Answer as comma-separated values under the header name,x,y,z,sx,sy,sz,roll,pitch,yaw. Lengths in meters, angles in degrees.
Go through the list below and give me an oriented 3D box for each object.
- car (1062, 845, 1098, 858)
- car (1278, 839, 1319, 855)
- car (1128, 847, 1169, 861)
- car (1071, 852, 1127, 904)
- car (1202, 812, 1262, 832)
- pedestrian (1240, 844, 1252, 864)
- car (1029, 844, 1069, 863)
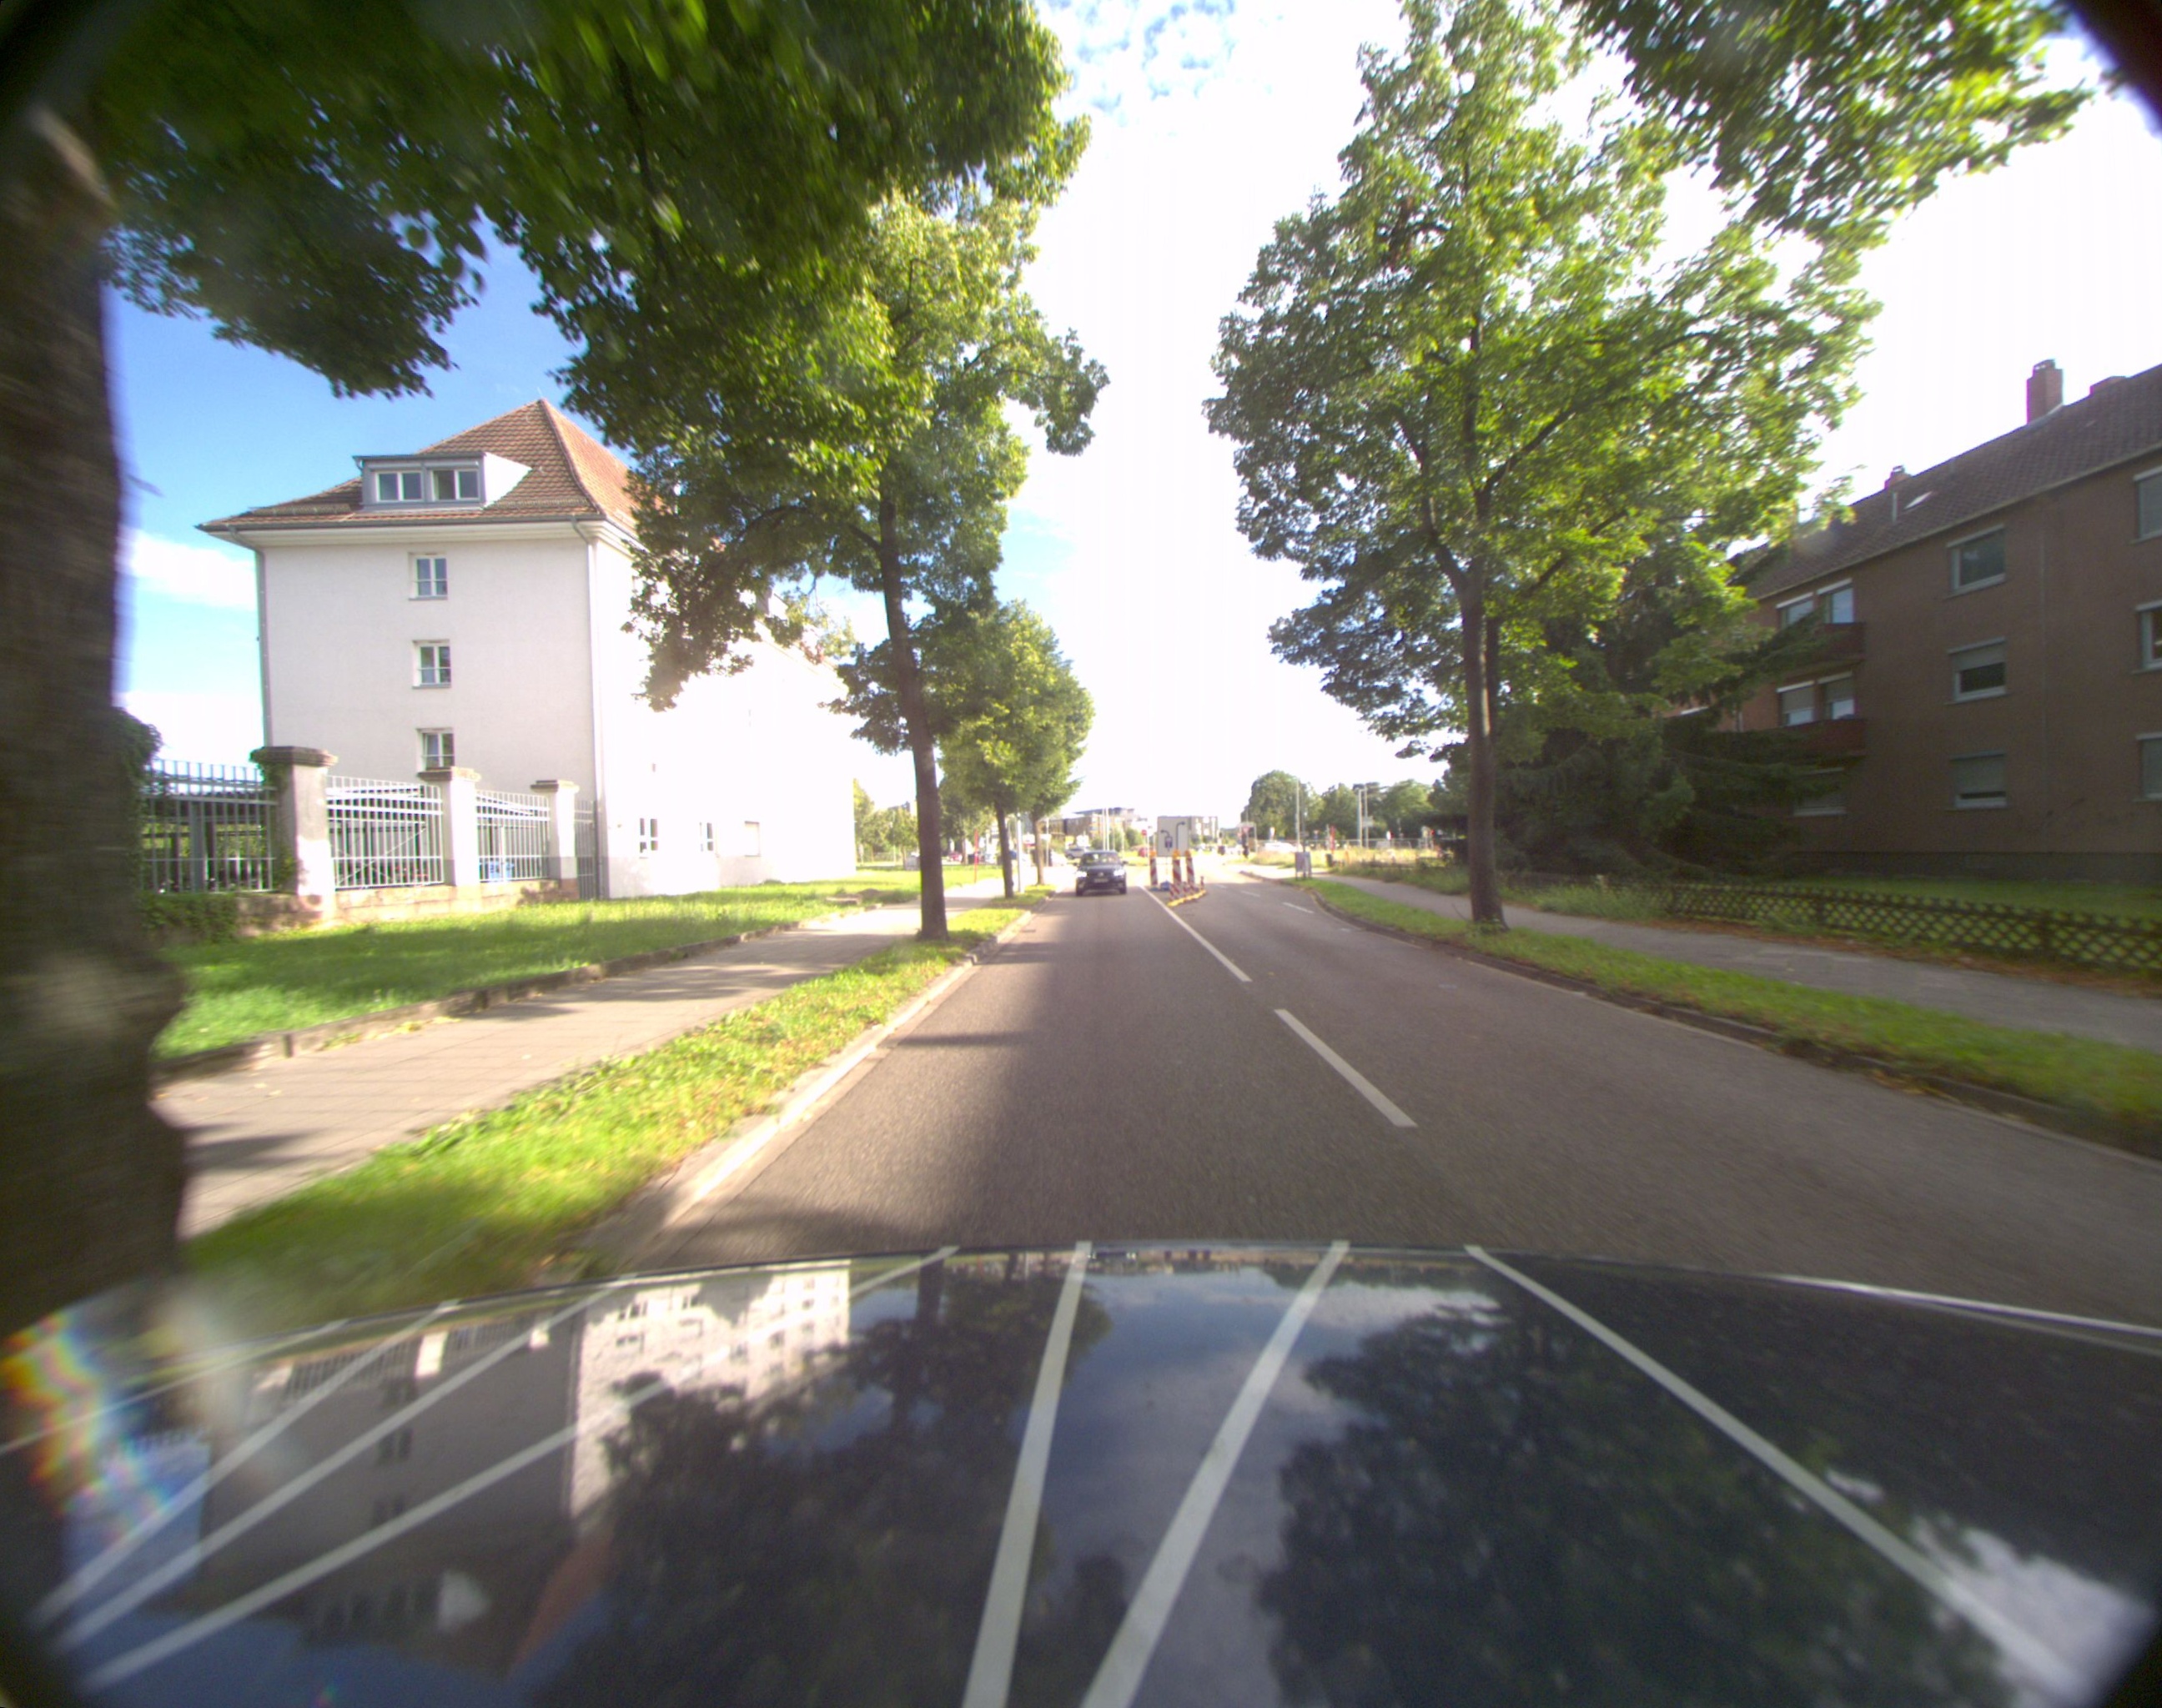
name,x,y,z,sx,sy,sz,roll,pitch,yaw
car,-0.090,-0.329,97.935,4.257,1.477,2.001,-2,1,10
car,30.769,-1.008,107.517,5.510,2.047,2.472,-3,2,-31
car,8.650,0.042,97.557,4.867,1.515,2.305,-3,1,-4
car,0.708,0.795,27.655,1.821,1.648,4.243,-3,0,3
car,16.531,-3.549,83.559,2.482,1.856,6.235,-4,2,-42
pedestrian,15.575,-0.002,71.627,0.710,1.813,0.744,-3,1,-19
car,-3.399,-0.036,80.204,1.842,1.856,5.391,-3,2,-30
